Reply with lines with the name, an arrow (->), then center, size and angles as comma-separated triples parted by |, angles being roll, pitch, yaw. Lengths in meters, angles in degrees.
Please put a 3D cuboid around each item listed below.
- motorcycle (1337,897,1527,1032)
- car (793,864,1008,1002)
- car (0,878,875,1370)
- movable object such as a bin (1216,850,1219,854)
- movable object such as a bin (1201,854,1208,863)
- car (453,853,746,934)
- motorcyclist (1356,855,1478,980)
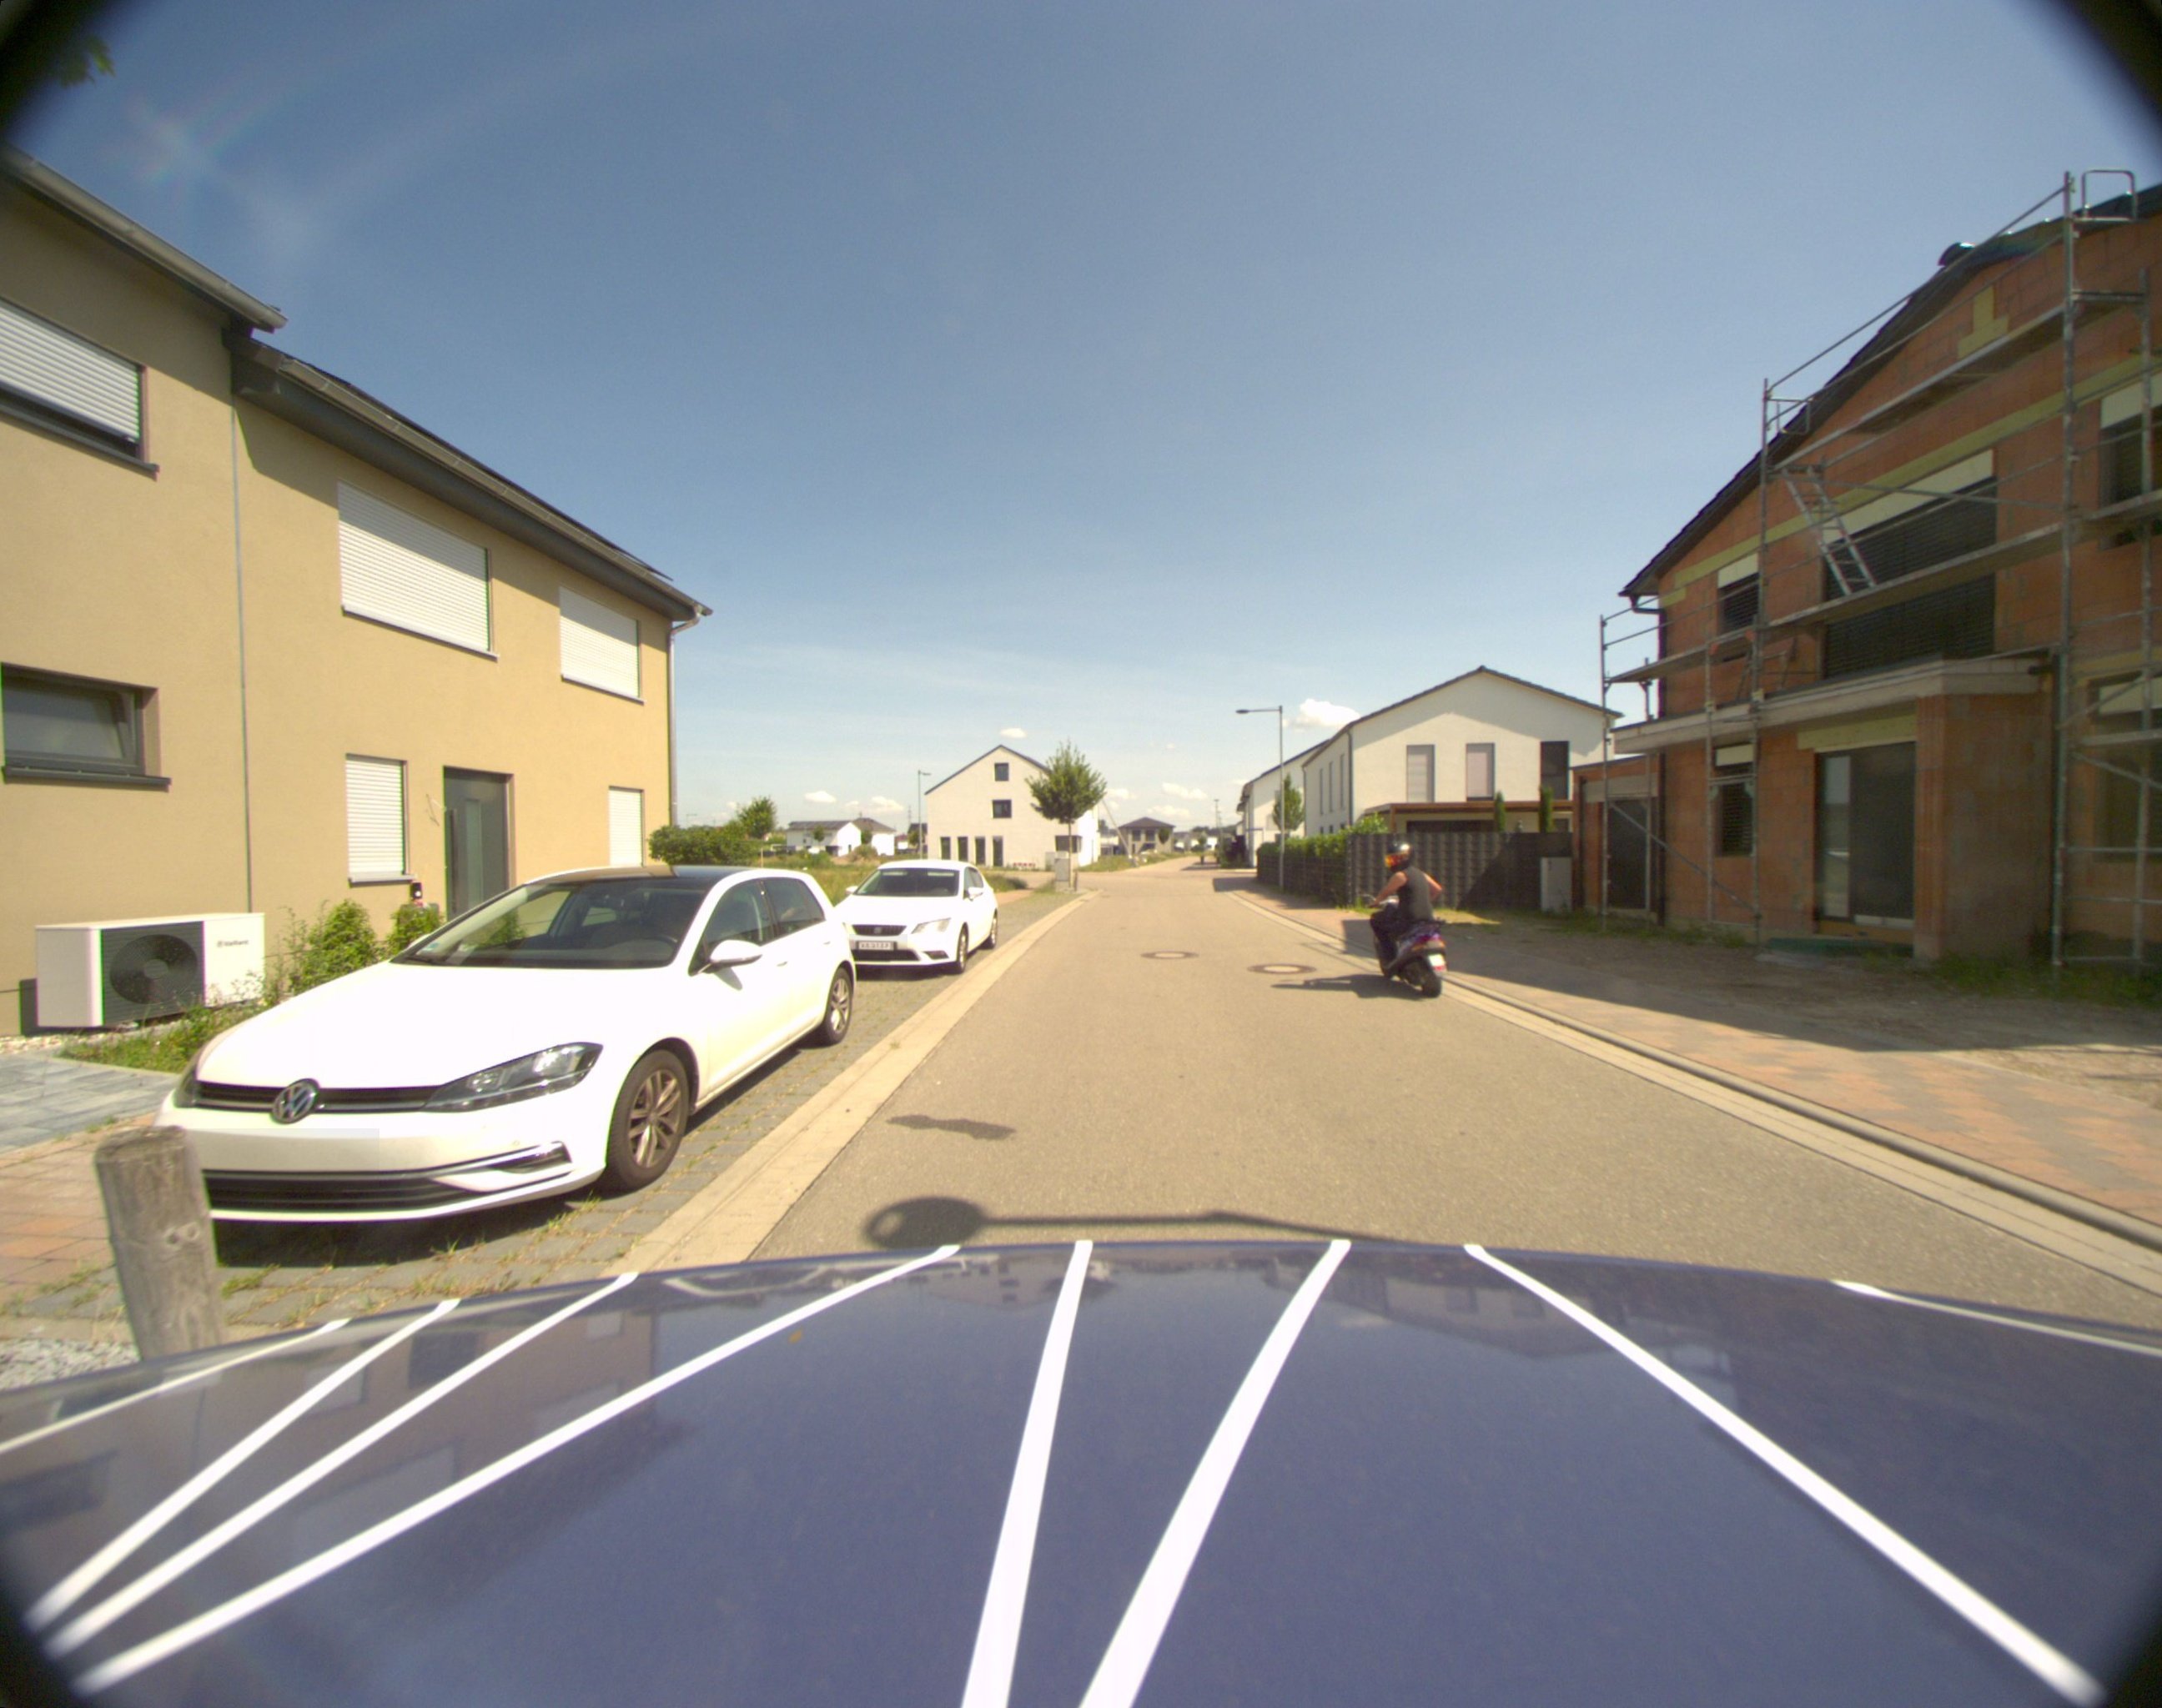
motorcycle -> 3.431, 1.021, 7.770 | 0.958, 1.029, 2.437 | -1, 0, 4
car -> -2.300, 0.938, 11.007 | 1.818, 1.447, 4.565 | 1, 1, 3
car -> -2.832, 0.933, 4.694 | 1.784, 1.417, 4.514 | 1, 0, 1
movable object such as a bin -> 26.278, -0.394, 145.940 | 0.597, 0.916, 0.462 | 0, 1, 12
movable object such as a bin -> 12.354, 0.454, 75.984 | 0.597, 0.916, 0.462 | 0, 1, 12
car -> -9.884, 0.761, 15.843 | 4.898, 1.417, 2.001 | 2, 1, 4
motorcyclist -> 3.420, 0.624, 7.805 | 0.926, 1.215, 0.804 | 0, 0, 4
